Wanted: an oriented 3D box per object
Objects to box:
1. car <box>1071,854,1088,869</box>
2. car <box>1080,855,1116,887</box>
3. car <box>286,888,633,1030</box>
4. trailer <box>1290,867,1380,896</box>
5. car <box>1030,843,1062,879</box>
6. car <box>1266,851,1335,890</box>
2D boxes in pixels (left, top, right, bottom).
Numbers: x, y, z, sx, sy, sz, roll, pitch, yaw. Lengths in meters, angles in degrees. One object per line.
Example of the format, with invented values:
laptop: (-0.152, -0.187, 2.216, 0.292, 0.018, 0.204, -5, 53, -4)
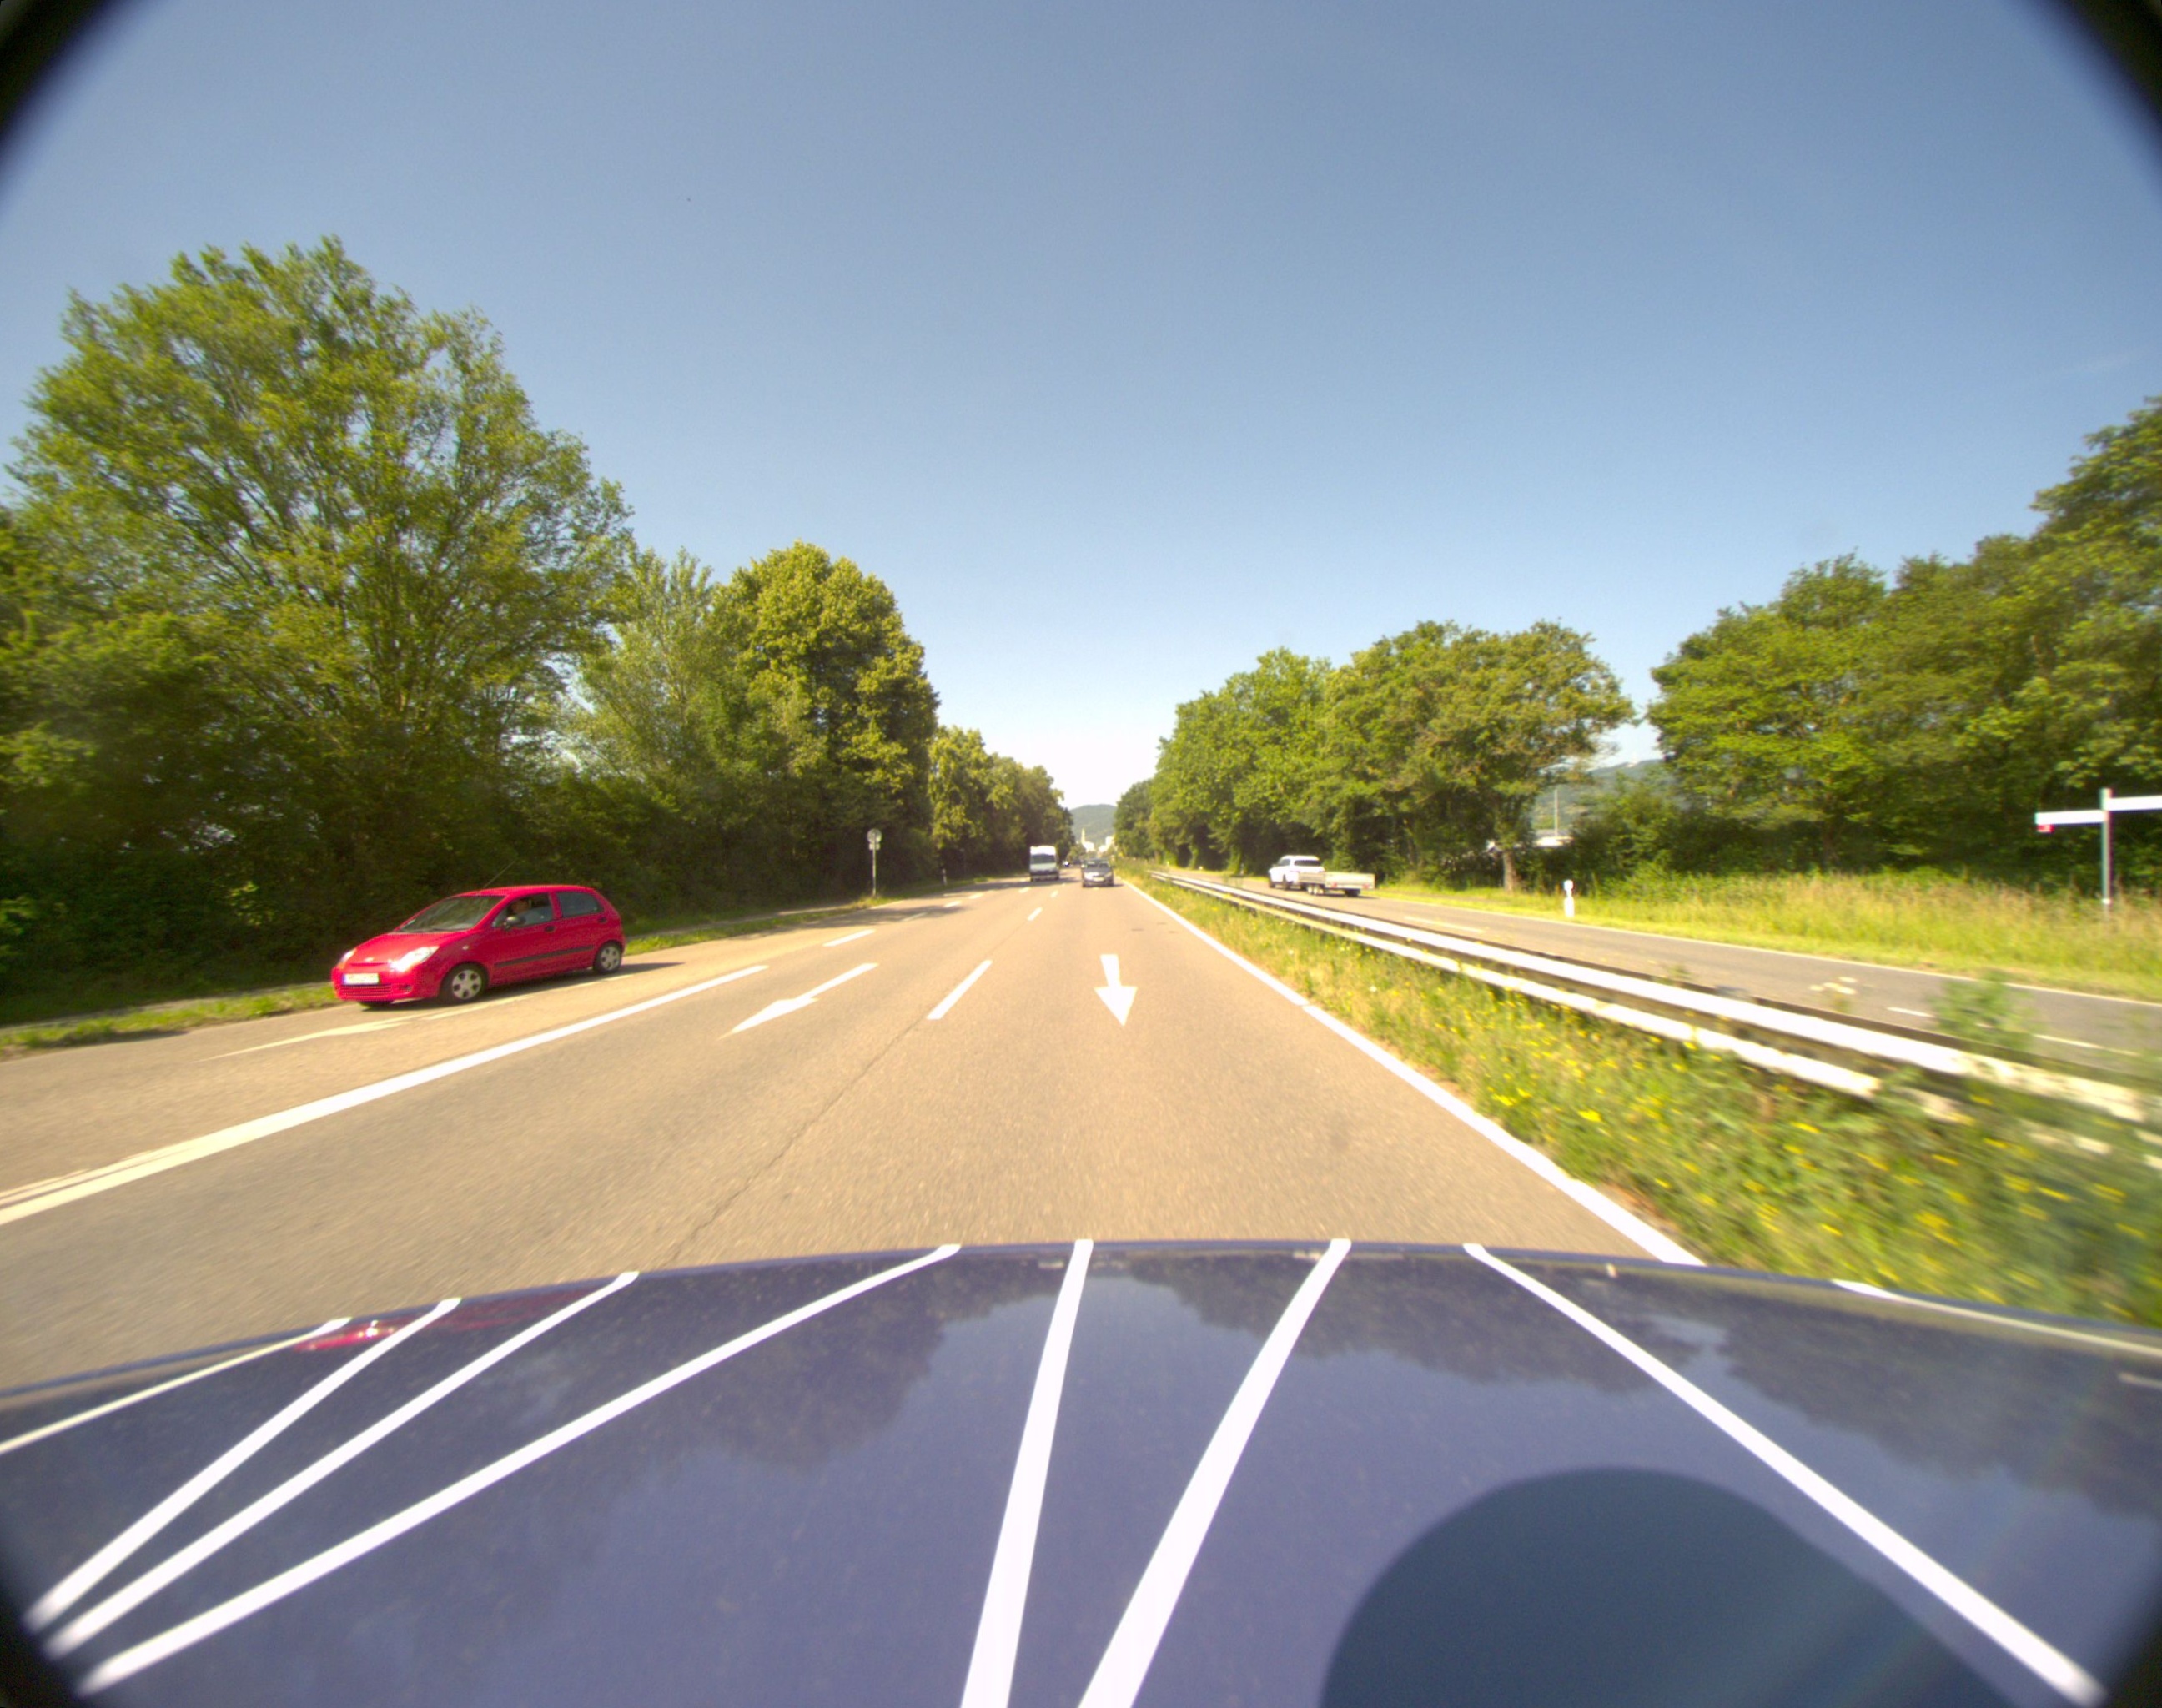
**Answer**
car: (-0.154, 0.776, 80.268, 1.678, 1.435, 3.622, -2, 1, 1)
car: (0.850, 0.822, 38.236, 1.678, 1.435, 4.362, -2, 0, 1)
car: (-8.453, 1.341, 10.781, 1.548, 1.445, 3.571, -3, 0, 11)
trailer: (10.349, 1.087, 31.484, 1.968, 0.955, 5.598, 1, 0, 1)
car: (-2.522, 0.468, 55.853, 1.998, 2.433, 5.088, -2, 1, 1)
car: (10.491, 0.721, 36.685, 1.998, 1.691, 4.813, 1, 1, 1)
